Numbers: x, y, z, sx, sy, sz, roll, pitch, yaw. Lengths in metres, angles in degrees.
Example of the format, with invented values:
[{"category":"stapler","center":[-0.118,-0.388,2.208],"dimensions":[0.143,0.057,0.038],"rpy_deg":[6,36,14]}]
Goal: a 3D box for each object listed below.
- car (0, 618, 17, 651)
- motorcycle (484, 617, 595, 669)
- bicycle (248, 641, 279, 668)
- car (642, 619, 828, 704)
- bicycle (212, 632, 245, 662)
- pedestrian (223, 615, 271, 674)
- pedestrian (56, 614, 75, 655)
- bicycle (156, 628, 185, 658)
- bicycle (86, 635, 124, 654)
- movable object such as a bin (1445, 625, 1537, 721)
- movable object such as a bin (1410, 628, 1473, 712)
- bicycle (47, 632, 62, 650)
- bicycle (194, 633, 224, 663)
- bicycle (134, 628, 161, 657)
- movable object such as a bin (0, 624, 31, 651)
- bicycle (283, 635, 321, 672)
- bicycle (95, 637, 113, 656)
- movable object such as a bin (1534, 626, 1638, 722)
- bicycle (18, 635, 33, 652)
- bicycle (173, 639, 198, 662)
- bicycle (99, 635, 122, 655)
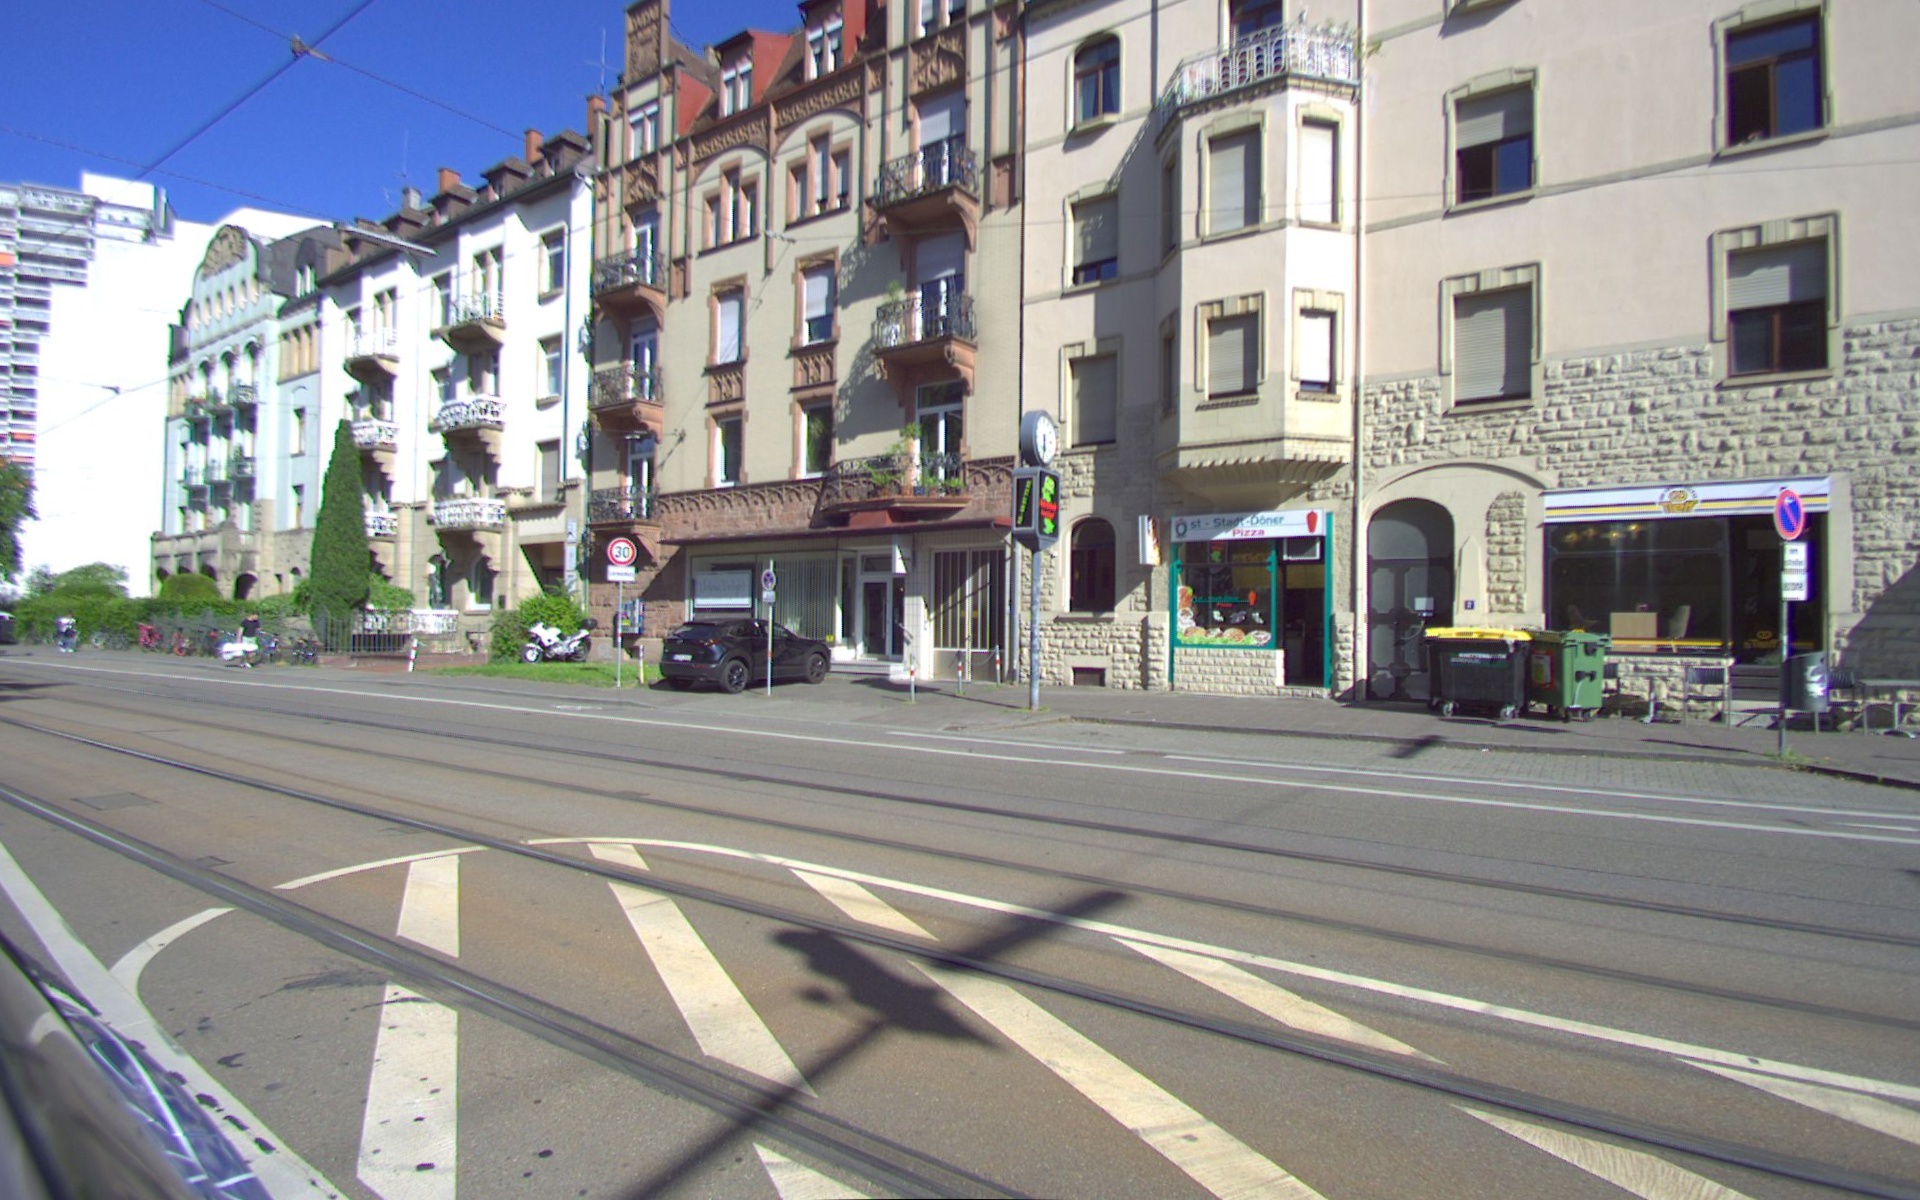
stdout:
[{"category":"car","center":[-52.226,1.814,53.777],"dimensions":[1.437,1.787,3.192],"rpy_deg":[1,-4,-8]},{"category":"motorcycle","center":[-12.357,1.230,29.866],"dimensions":[0.821,1.467,3.058],"rpy_deg":[0,-1,35]},{"category":"bicycle","center":[-21.717,1.699,31.547],"dimensions":[1.650,0.767,0.314],"rpy_deg":[0,-1,38]},{"category":"car","center":[-4.805,1.247,22.174],"dimensions":[1.765,1.514,3.958],"rpy_deg":[0,1,31]},{"category":"bicycle","center":[-24.459,1.558,33.833],"dimensions":[1.746,0.949,0.400],"rpy_deg":[0,-1,38]},{"category":"pedestrian","center":[-21.086,1.294,29.921],"dimensions":[0.869,1.640,0.859],"rpy_deg":[0,3,38]},{"category":"pedestrian","center":[-36.330,1.402,41.100],"dimensions":[0.658,1.641,0.470],"rpy_deg":[0,-1,38]},{"category":"bicycle","center":[-28.768,1.573,36.883],"dimensions":[1.813,1.031,0.400],"rpy_deg":[0,-1,38]},{"category":"bicycle","center":[-37.432,1.940,44.312],"dimensions":[0.297,0.799,1.247],"rpy_deg":[0,-1,38]},{"category":"movable object such as a bin","center":[8.190,1.100,15.630],"dimensions":[0.844,1.391,1.029],"rpy_deg":[1,-1,-41]},{"category":"movable object such as a bin","center":[7.983,1.133,16.772],"dimensions":[0.844,1.335,0.658],"rpy_deg":[1,-1,-41]},{"category":"bicycle","center":[-40.883,1.840,45.693],"dimensions":[1.261,0.767,0.293],"rpy_deg":[0,-1,38]},{"category":"bicycle","center":[-25.871,1.647,34.846],"dimensions":[1.646,0.949,0.400],"rpy_deg":[0,-1,38]},{"category":"bicycle","center":[-30.666,1.591,38.185],"dimensions":[1.813,1.031,0.400],"rpy_deg":[0,-1,38]},{"category":"movable object such as a bin","center":[-49.813,1.961,52.941],"dimensions":[2.093,1.326,1.483],"rpy_deg":[0,-1,38]},{"category":"bicycle","center":[-19.781,1.586,30.408],"dimensions":[1.746,1.047,0.400],"rpy_deg":[0,-1,38]},{"category":"bicycle","center":[-35.372,1.913,41.819],"dimensions":[1.261,0.767,0.335],"rpy_deg":[0,-1,38]},{"category":"movable object such as a bin","center":[9.426,1.098,15.271],"dimensions":[1.011,1.391,0.859],"rpy_deg":[1,-1,-8]},{"category":"bicycle","center":[-44.742,2.065,48.452],"dimensions":[1.261,0.767,0.293],"rpy_deg":[0,-1,38]},{"category":"bicycle","center":[-27.401,1.771,35.782],"dimensions":[1.540,0.767,0.314],"rpy_deg":[0,-1,38]},{"category":"bicycle","center":[-34.238,1.809,40.785],"dimensions":[1.579,0.767,0.400],"rpy_deg":[0,-1,38]}]
